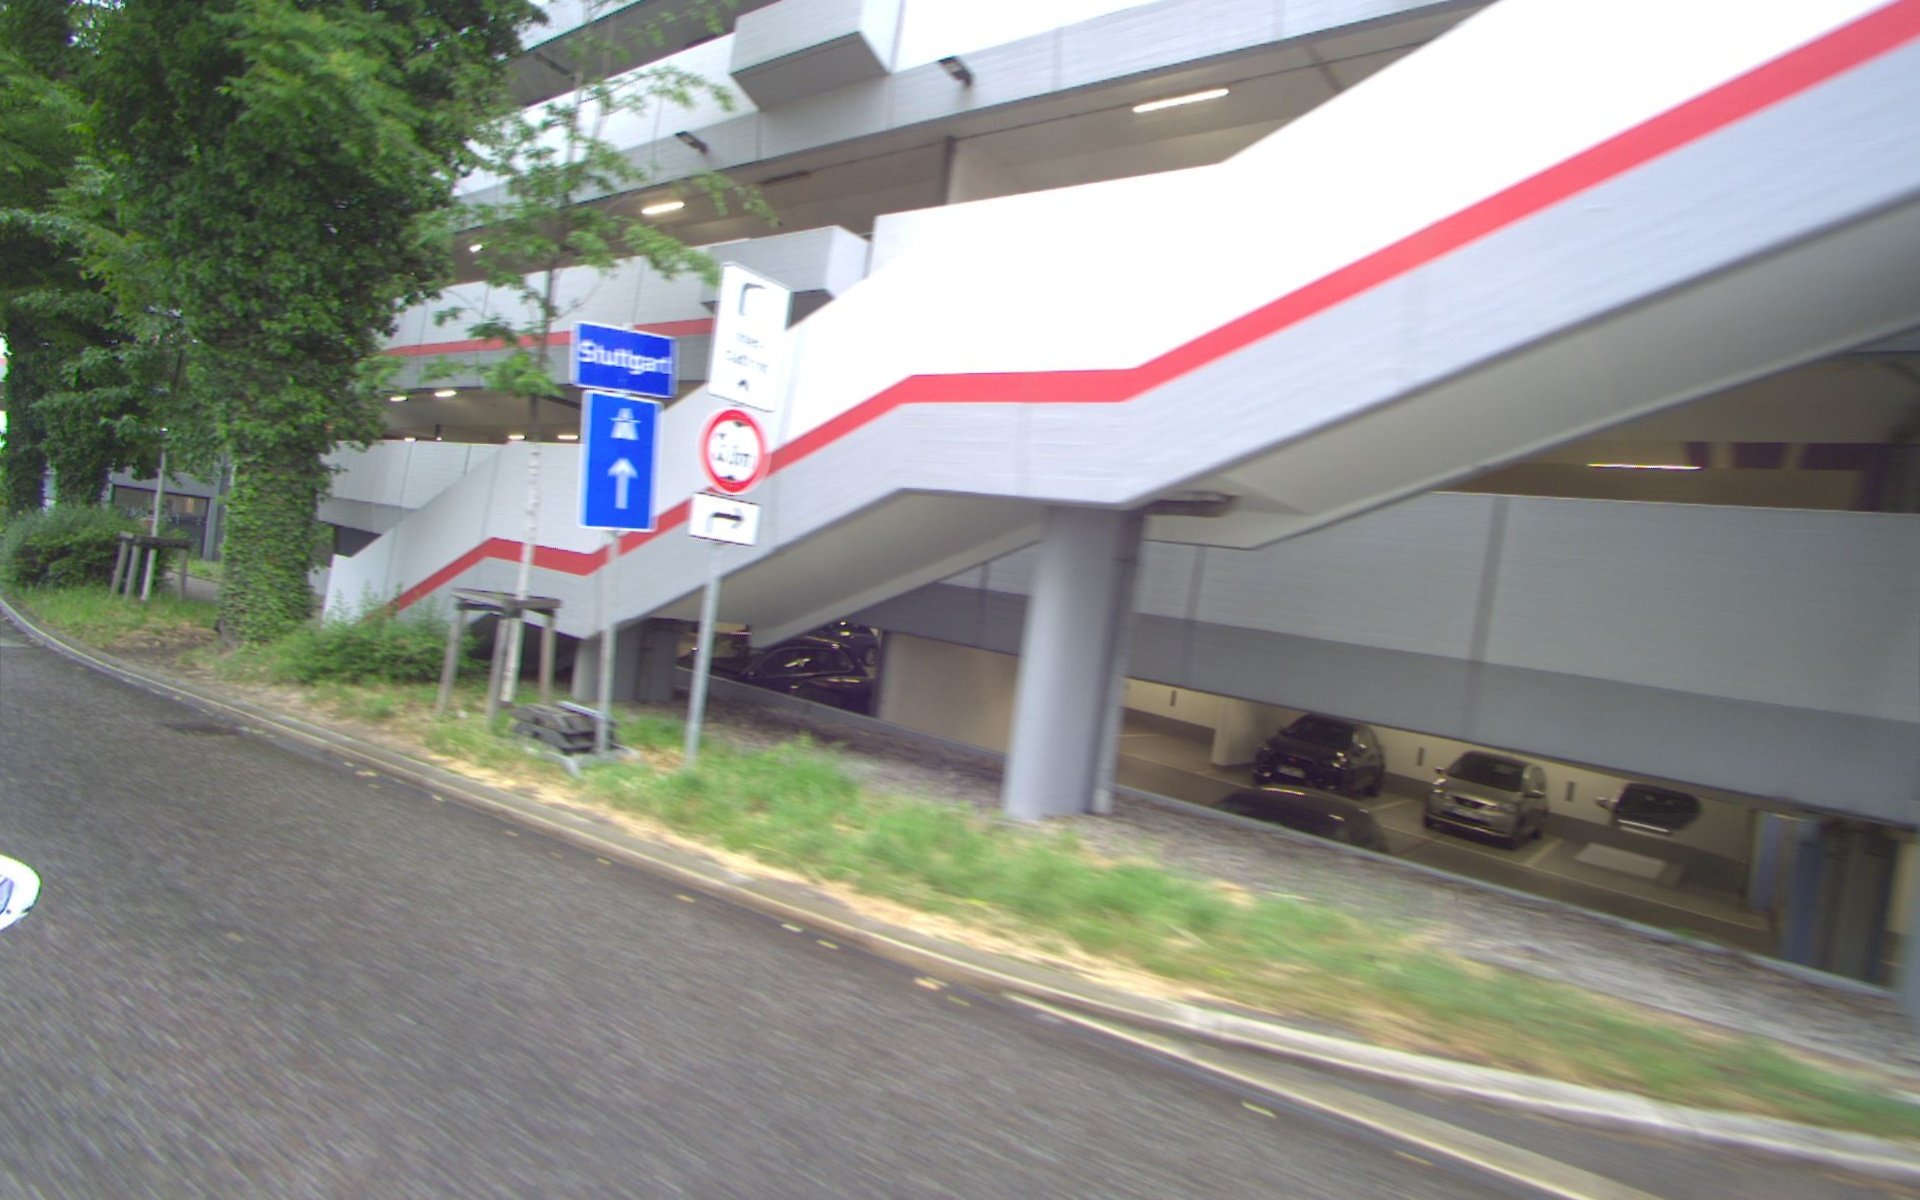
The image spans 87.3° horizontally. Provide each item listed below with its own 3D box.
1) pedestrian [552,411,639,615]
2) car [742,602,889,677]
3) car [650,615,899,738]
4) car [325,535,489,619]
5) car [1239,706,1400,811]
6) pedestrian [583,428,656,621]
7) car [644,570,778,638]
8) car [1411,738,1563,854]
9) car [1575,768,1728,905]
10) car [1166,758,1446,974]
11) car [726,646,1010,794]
[{"bbox_3d":[-4.069,-0.962,11.228,0.486,2.181,0.514,7,1,36],"label":"pedestrian"},{"bbox_3d":[-4.288,1.214,30.304,1.792,1.804,3.979,7,0,44],"label":"car"},{"bbox_3d":[-3.006,1.316,16.919,1.782,1.559,3.734,11,1,37],"label":"car"},{"bbox_3d":[-15.119,-0.595,27.601,1.792,1.804,3.448,7,0,44],"label":"car"},{"bbox_3d":[7.436,3.150,20.598,1.810,1.559,3.988,11,1,37],"label":"car"},{"bbox_3d":[-3.976,-0.876,11.762,0.427,2.181,0.421,7,1,36],"label":"pedestrian"},{"bbox_3d":[-8.493,0.170,34.481,1.792,1.804,3.979,7,0,44],"label":"car"},{"bbox_3d":[10.290,3.675,19.503,1.810,1.559,3.988,11,1,37],"label":"car"},{"bbox_3d":[12.281,4.039,17.815,1.810,1.559,3.988,11,1,37],"label":"car"},{"bbox_3d":[4.222,2.917,11.873,1.810,1.559,3.931,11,1,37],"label":"car"},{"bbox_3d":[-1.200,1.712,14.735,1.810,1.643,3.988,7,-1,36],"label":"car"}]
